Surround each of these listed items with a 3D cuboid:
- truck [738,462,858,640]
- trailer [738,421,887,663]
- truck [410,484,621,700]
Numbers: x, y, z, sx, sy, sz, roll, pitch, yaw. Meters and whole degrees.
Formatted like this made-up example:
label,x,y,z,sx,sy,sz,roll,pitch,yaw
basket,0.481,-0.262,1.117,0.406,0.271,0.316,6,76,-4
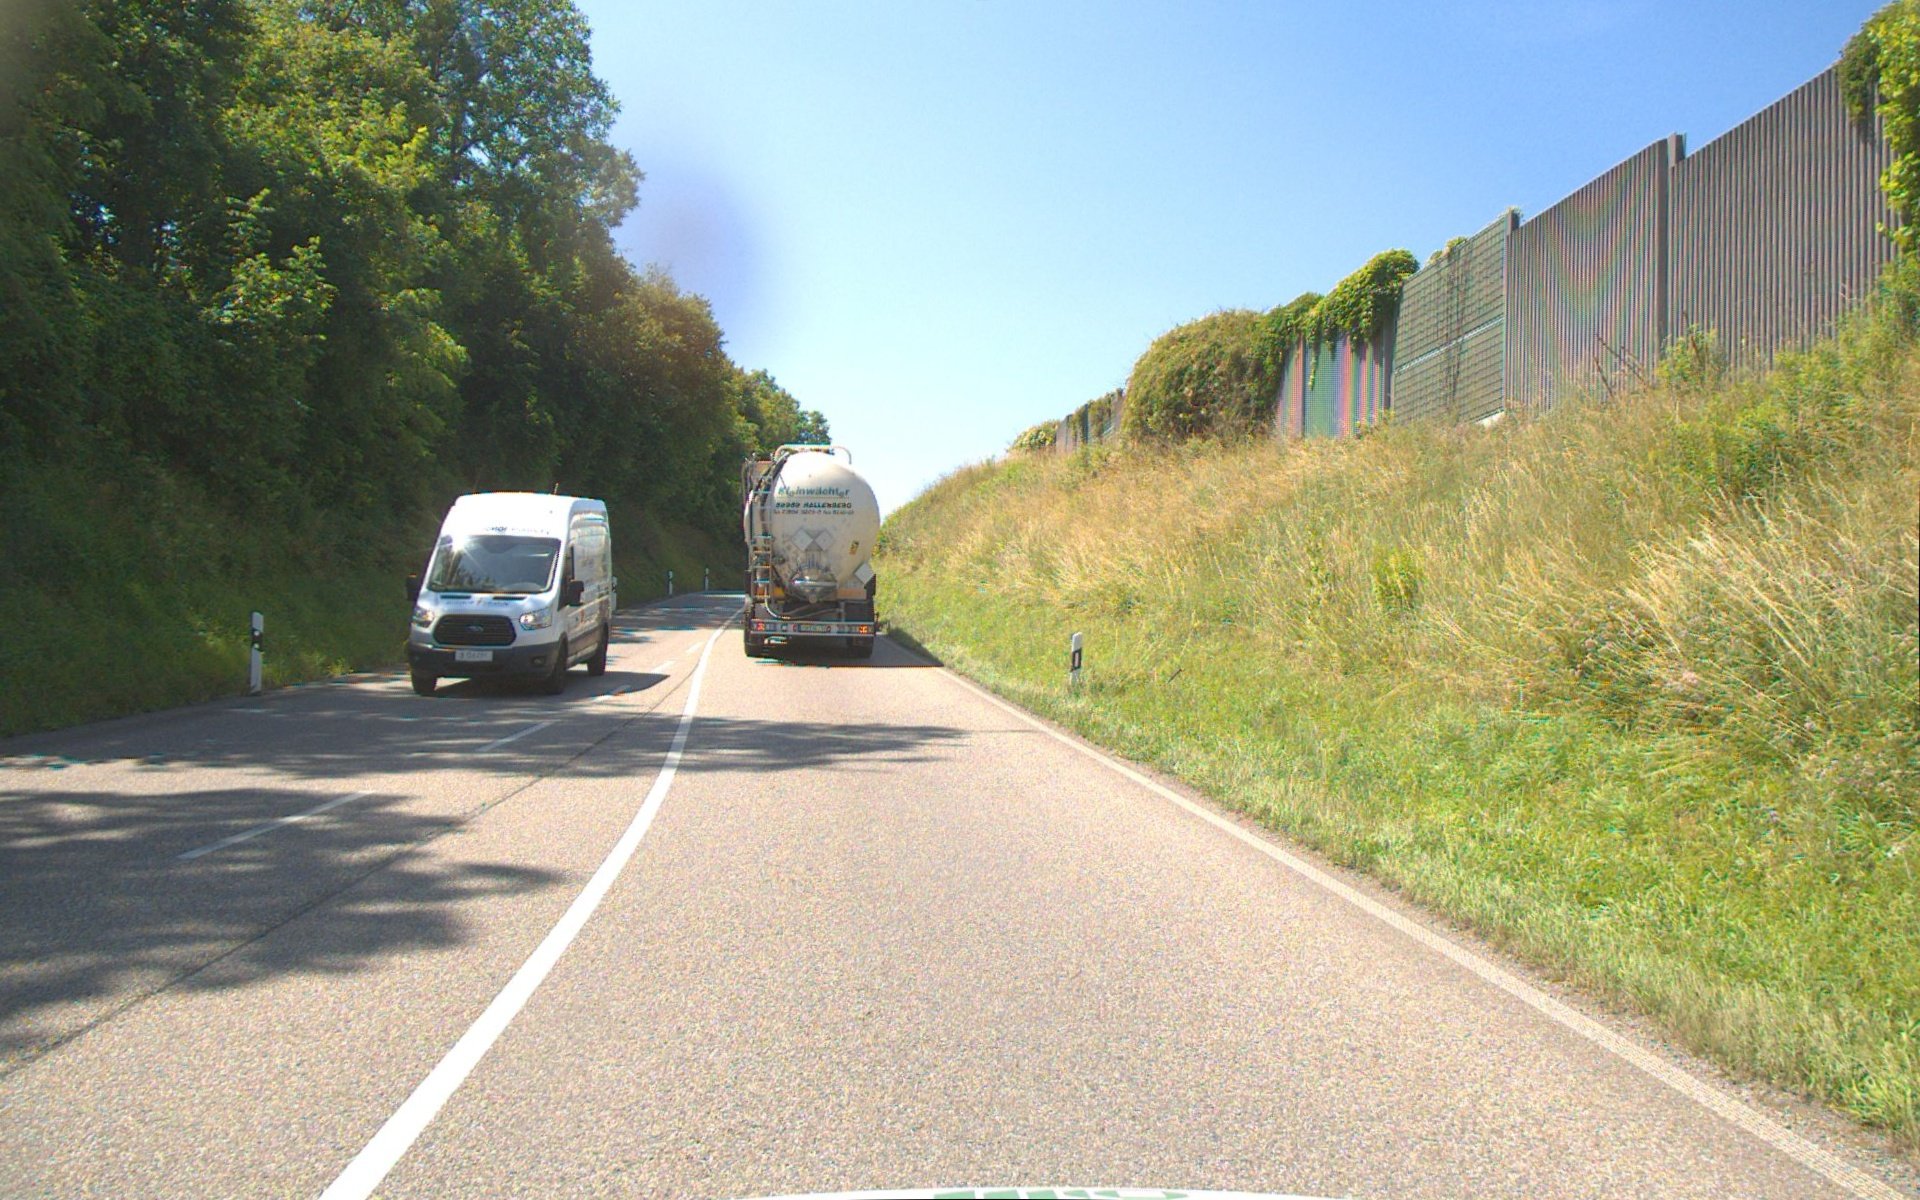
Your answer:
label,x,y,z,sx,sy,sz,roll,pitch,yaw
truck,-4.104,-1.225,41.047,2.675,3.998,7.253,-1,2,-7
trailer,-3.388,-1.194,35.226,2.611,4.261,11.885,-1,2,-8
truck,-6.267,-0.142,24.038,2.013,2.734,5.974,0,1,-6
